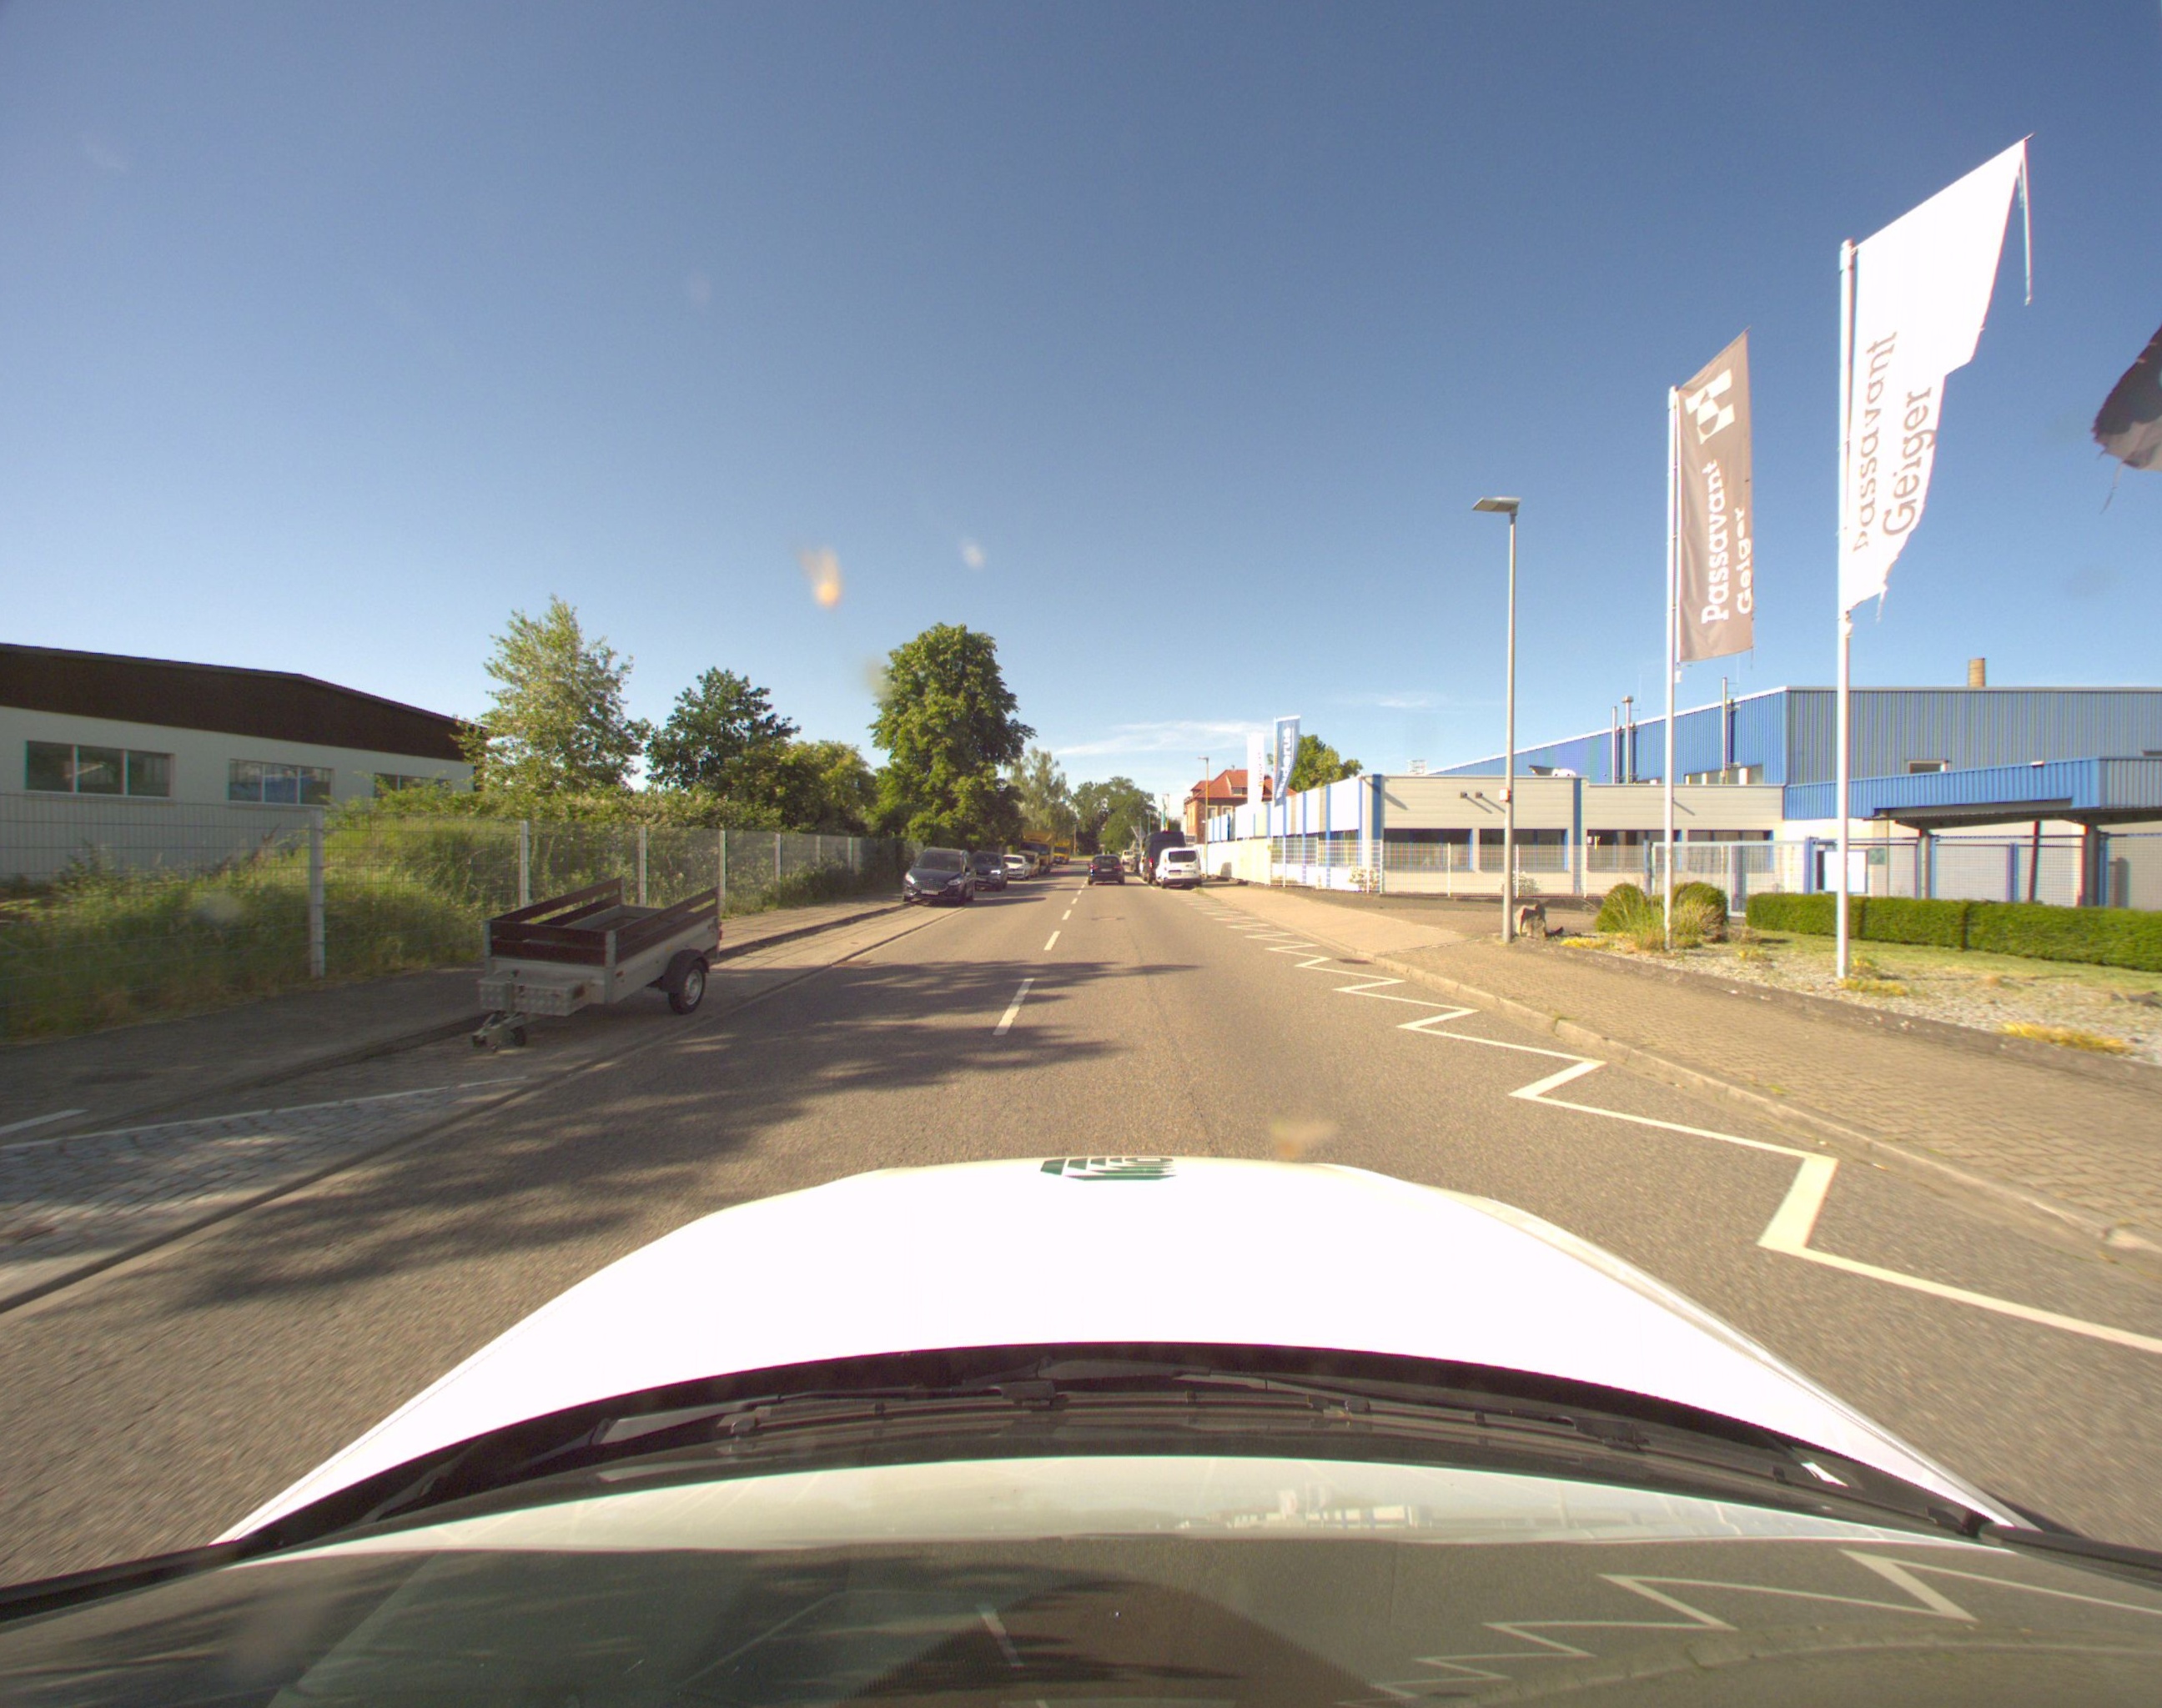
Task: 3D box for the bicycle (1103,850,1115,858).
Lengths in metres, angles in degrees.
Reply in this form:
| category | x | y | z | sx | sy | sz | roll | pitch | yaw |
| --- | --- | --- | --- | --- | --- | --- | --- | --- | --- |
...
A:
| category | x | y | z | sx | sy | sz | roll | pitch | yaw |
| --- | --- | --- | --- | --- | --- | --- | --- | --- | --- |
| bicycle | 4.683 | -0.016 | 135.200 | 0.809 | 1.268 | 2.235 | 2 | 0 | -33 |

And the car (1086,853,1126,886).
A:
| category | x | y | z | sx | sy | sz | roll | pitch | yaw |
| --- | --- | --- | --- | --- | --- | --- | --- | --- | --- |
| car | 1.270 | 0.713 | 39.857 | 1.840 | 1.530 | 4.003 | 0 | 0 | 2 |

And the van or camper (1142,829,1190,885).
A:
| category | x | y | z | sx | sy | sz | roll | pitch | yaw |
| --- | --- | --- | --- | --- | --- | --- | --- | --- | --- |
| van or camper | 4.555 | 0.152 | 44.505 | 2.133 | 2.759 | 6.164 | 2 | 0 | 2 |

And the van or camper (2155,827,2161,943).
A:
| category | x | y | z | sx | sy | sz | roll | pitch | yaw |
| --- | --- | --- | --- | --- | --- | --- | --- | --- | --- |
| van or camper | 22.977 | 0.654 | 13.491 | 2.091 | 2.382 | 6.521 | 2 | 0 | 4 |

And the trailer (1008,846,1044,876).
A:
| category | x | y | z | sx | sy | sz | roll | pitch | yaw |
| --- | --- | --- | --- | --- | --- | --- | --- | --- | --- |
| trailer | -3.769 | 0.461 | 56.353 | 1.986 | 1.941 | 4.417 | 0 | 0 | 2 |

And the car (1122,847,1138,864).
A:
| category | x | y | z | sx | sy | sz | roll | pitch | yaw |
| --- | --- | --- | --- | --- | --- | --- | --- | --- | --- |
| car | 6.257 | 0.203 | 104.581 | 1.867 | 2.013 | 5.163 | 2 | 0 | 2 |

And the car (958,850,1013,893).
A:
| category | x | y | z | sx | sy | sz | roll | pitch | yaw |
| --- | --- | --- | --- | --- | --- | --- | --- | --- | --- |
| car | -4.249 | 0.741 | 37.051 | 1.902 | 1.662 | 4.462 | 4 | 0 | -1 |

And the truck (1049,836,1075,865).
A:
| category | x | y | z | sx | sy | sz | roll | pitch | yaw |
| --- | --- | --- | --- | --- | --- | --- | --- | --- | --- |
| truck | -2.539 | -0.582 | 110.869 | 2.622 | 3.504 | 8.662 | 6 | 1 | 2 |

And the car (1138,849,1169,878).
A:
| category | x | y | z | sx | sy | sz | roll | pitch | yaw |
| --- | --- | --- | --- | --- | --- | --- | --- | --- | --- |
| car | 4.911 | 0.635 | 55.739 | 1.848 | 1.830 | 5.170 | 2 | 0 | 2 |

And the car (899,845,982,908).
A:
| category | x | y | z | sx | sy | sz | roll | pitch | yaw |
| --- | --- | --- | --- | --- | --- | --- | --- | --- | --- |
| car | -4.399 | 0.637 | 26.243 | 1.786 | 1.730 | 4.801 | 4 | 0 | -1 |

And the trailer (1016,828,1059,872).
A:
| category | x | y | z | sx | sy | sz | roll | pitch | yaw |
| --- | --- | --- | --- | --- | --- | --- | --- | --- | --- |
| trailer | -3.489 | -0.300 | 67.263 | 2.981 | 3.443 | 8.162 | 0 | 0 | 1 |

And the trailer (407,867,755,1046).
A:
| category | x | y | z | sx | sy | sz | roll | pitch | yaw |
| --- | --- | --- | --- | --- | --- | --- | --- | --- | --- |
| trailer | -4.686 | 0.857 | 8.170 | 1.471 | 1.354 | 3.080 | 2 | 0 | 2 |

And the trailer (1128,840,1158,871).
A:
| category | x | y | z | sx | sy | sz | roll | pitch | yaw |
| --- | --- | --- | --- | --- | --- | --- | --- | --- | --- |
| trailer | 5.642 | 0.148 | 74.525 | 2.451 | 2.672 | 5.703 | 0 | 0 | 2 |

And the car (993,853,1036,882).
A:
| category | x | y | z | sx | sy | sz | roll | pitch | yaw |
| --- | --- | --- | --- | --- | --- | --- | --- | --- | --- |
| car | -4.044 | 0.779 | 50.427 | 1.900 | 1.593 | 5.028 | 4 | 0 | 2 |

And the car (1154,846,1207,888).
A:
| category | x | y | z | sx | sy | sz | roll | pitch | yaw |
| --- | --- | --- | --- | --- | --- | --- | --- | --- | --- |
| car | 4.566 | 0.566 | 38.060 | 1.879 | 1.797 | 5.104 | 2 | 0 | 1 |
